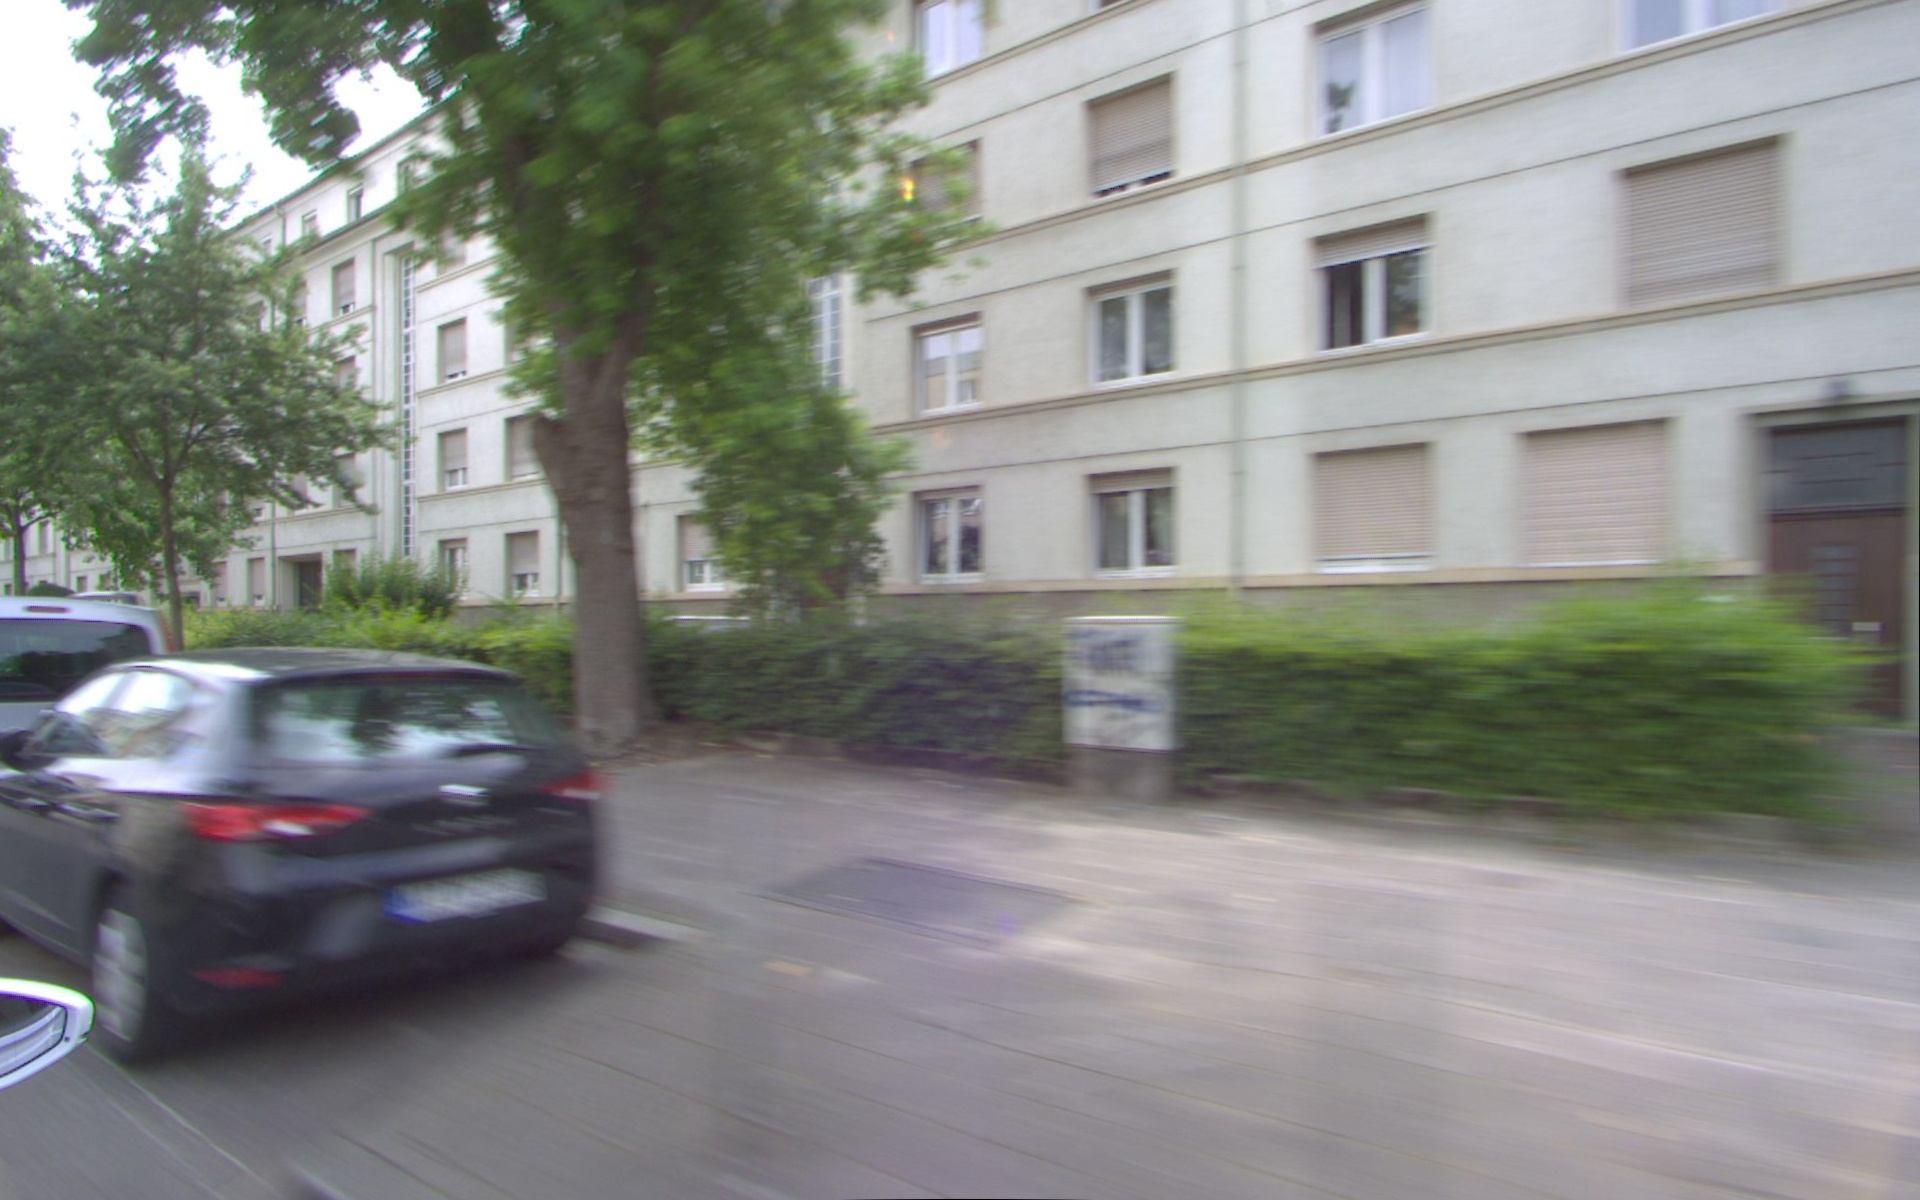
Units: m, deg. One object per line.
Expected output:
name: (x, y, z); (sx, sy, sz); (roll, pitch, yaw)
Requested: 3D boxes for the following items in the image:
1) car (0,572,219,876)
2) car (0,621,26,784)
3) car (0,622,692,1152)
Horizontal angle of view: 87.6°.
car: (-7.768, 0.814, 7.810); (4.785, 1.889, 1.912); (-1, -3, 37)
car: (-11.478, 1.025, 10.665); (3.756, 1.628, 1.600); (-1, -3, 37)
car: (-3.398, 0.871, 4.830); (4.185, 1.462, 1.912); (-1, -3, 37)
